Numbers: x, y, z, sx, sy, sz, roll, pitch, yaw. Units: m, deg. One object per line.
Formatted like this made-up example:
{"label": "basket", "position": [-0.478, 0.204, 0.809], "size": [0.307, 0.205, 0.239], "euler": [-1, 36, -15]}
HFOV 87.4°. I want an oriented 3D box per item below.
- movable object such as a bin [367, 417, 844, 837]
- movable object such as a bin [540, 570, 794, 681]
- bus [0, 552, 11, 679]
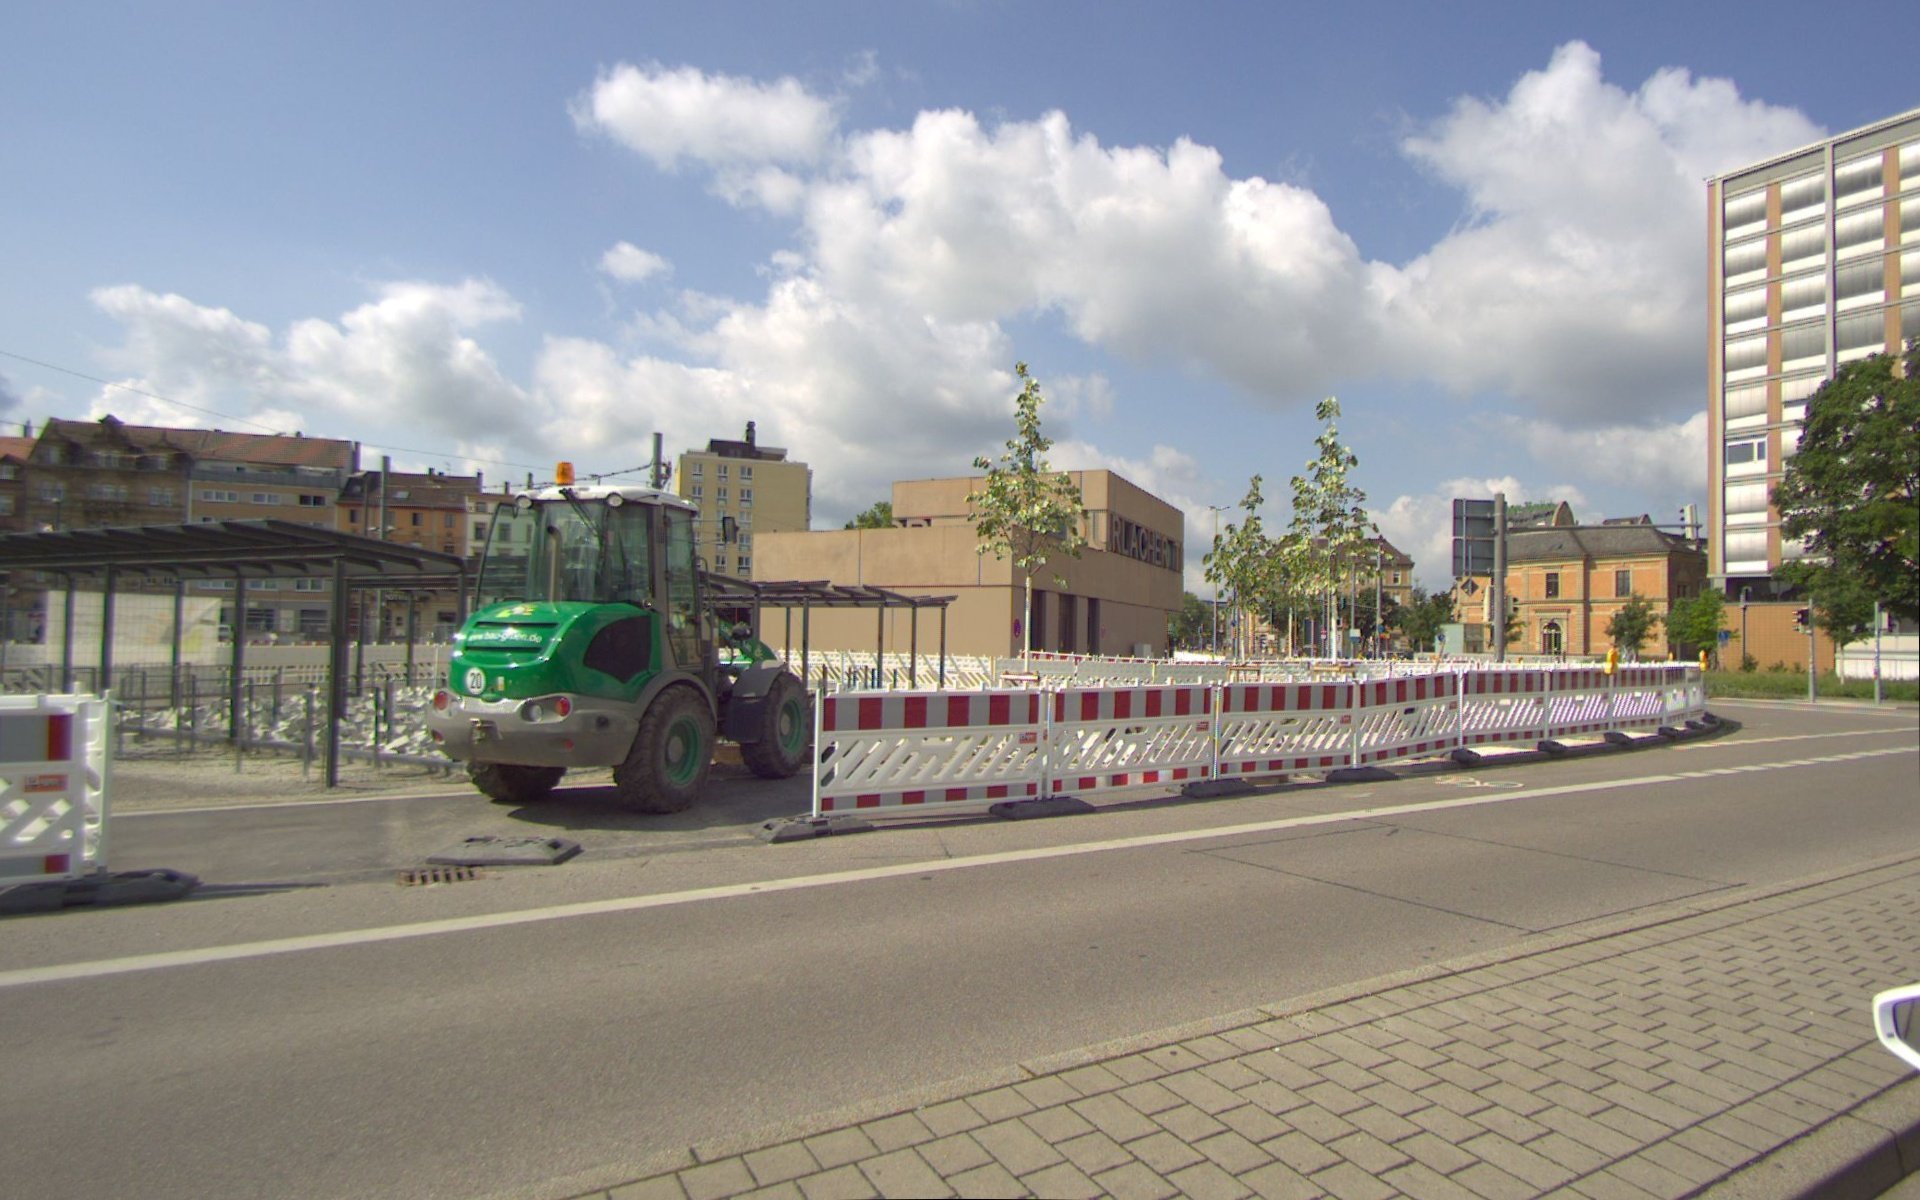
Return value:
{"label": "movable object such as a bin", "position": [-2.927, 0.281, 9.552], "size": [1.960, 2.988, 4.453], "euler": [0, -2, 17]}
{"label": "movable object such as a bin", "position": [-10.110, 1.002, 36.288], "size": [2.965, 3.468, 9.678], "euler": [0, -2, 27]}
{"label": "bus", "position": [-28.669, 0.167, 21.346], "size": [2.937, 3.305, 12.068], "euler": [0, -3, 25]}
